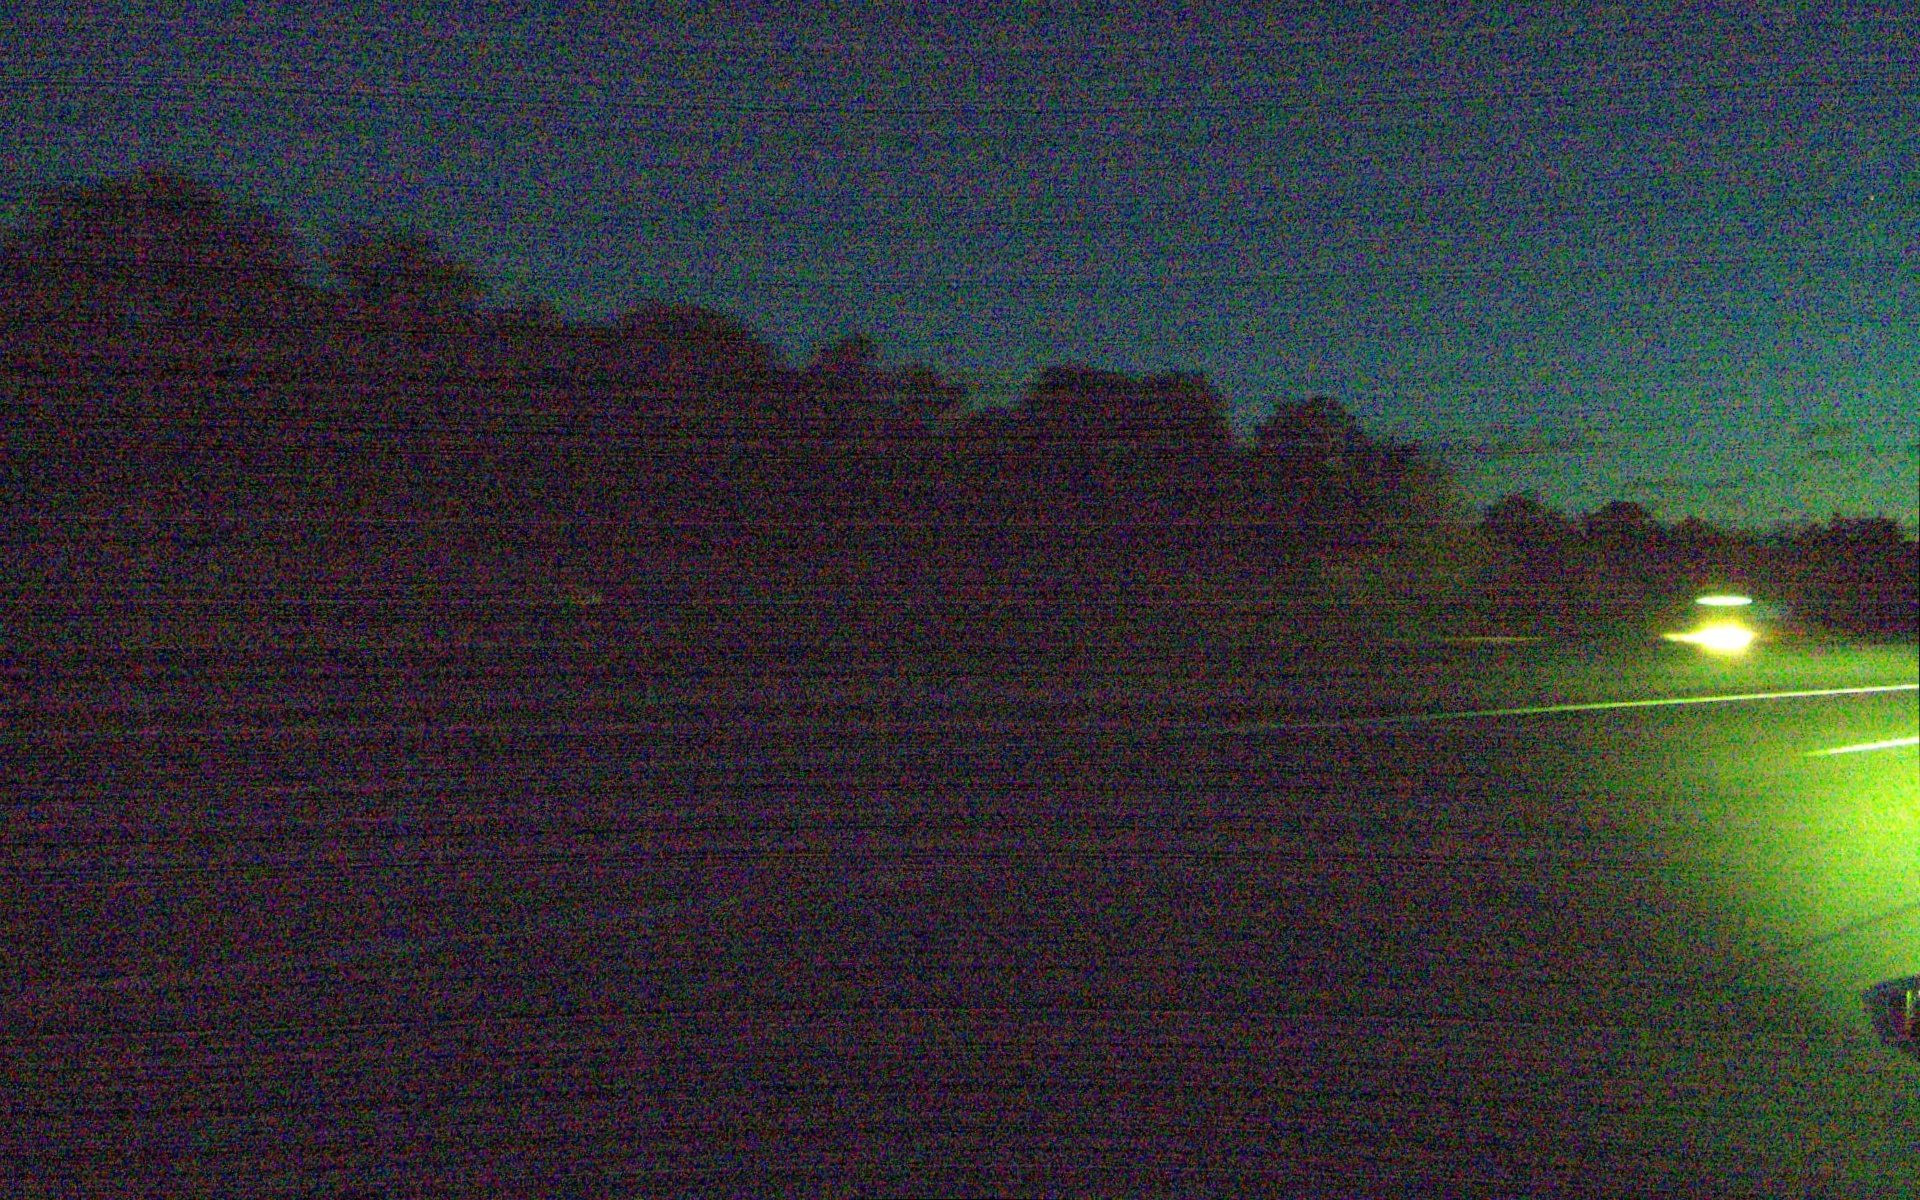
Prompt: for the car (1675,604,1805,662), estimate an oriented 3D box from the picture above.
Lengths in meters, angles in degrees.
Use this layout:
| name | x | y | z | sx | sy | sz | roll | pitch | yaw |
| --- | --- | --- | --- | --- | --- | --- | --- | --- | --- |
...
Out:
| name | x | y | z | sx | sy | sz | roll | pitch | yaw |
| --- | --- | --- | --- | --- | --- | --- | --- | --- | --- |
| car | 35.869 | 1.530 | 46.150 | 6.591 | 2.485 | 2.380 | 2 | 0 | -30 |
